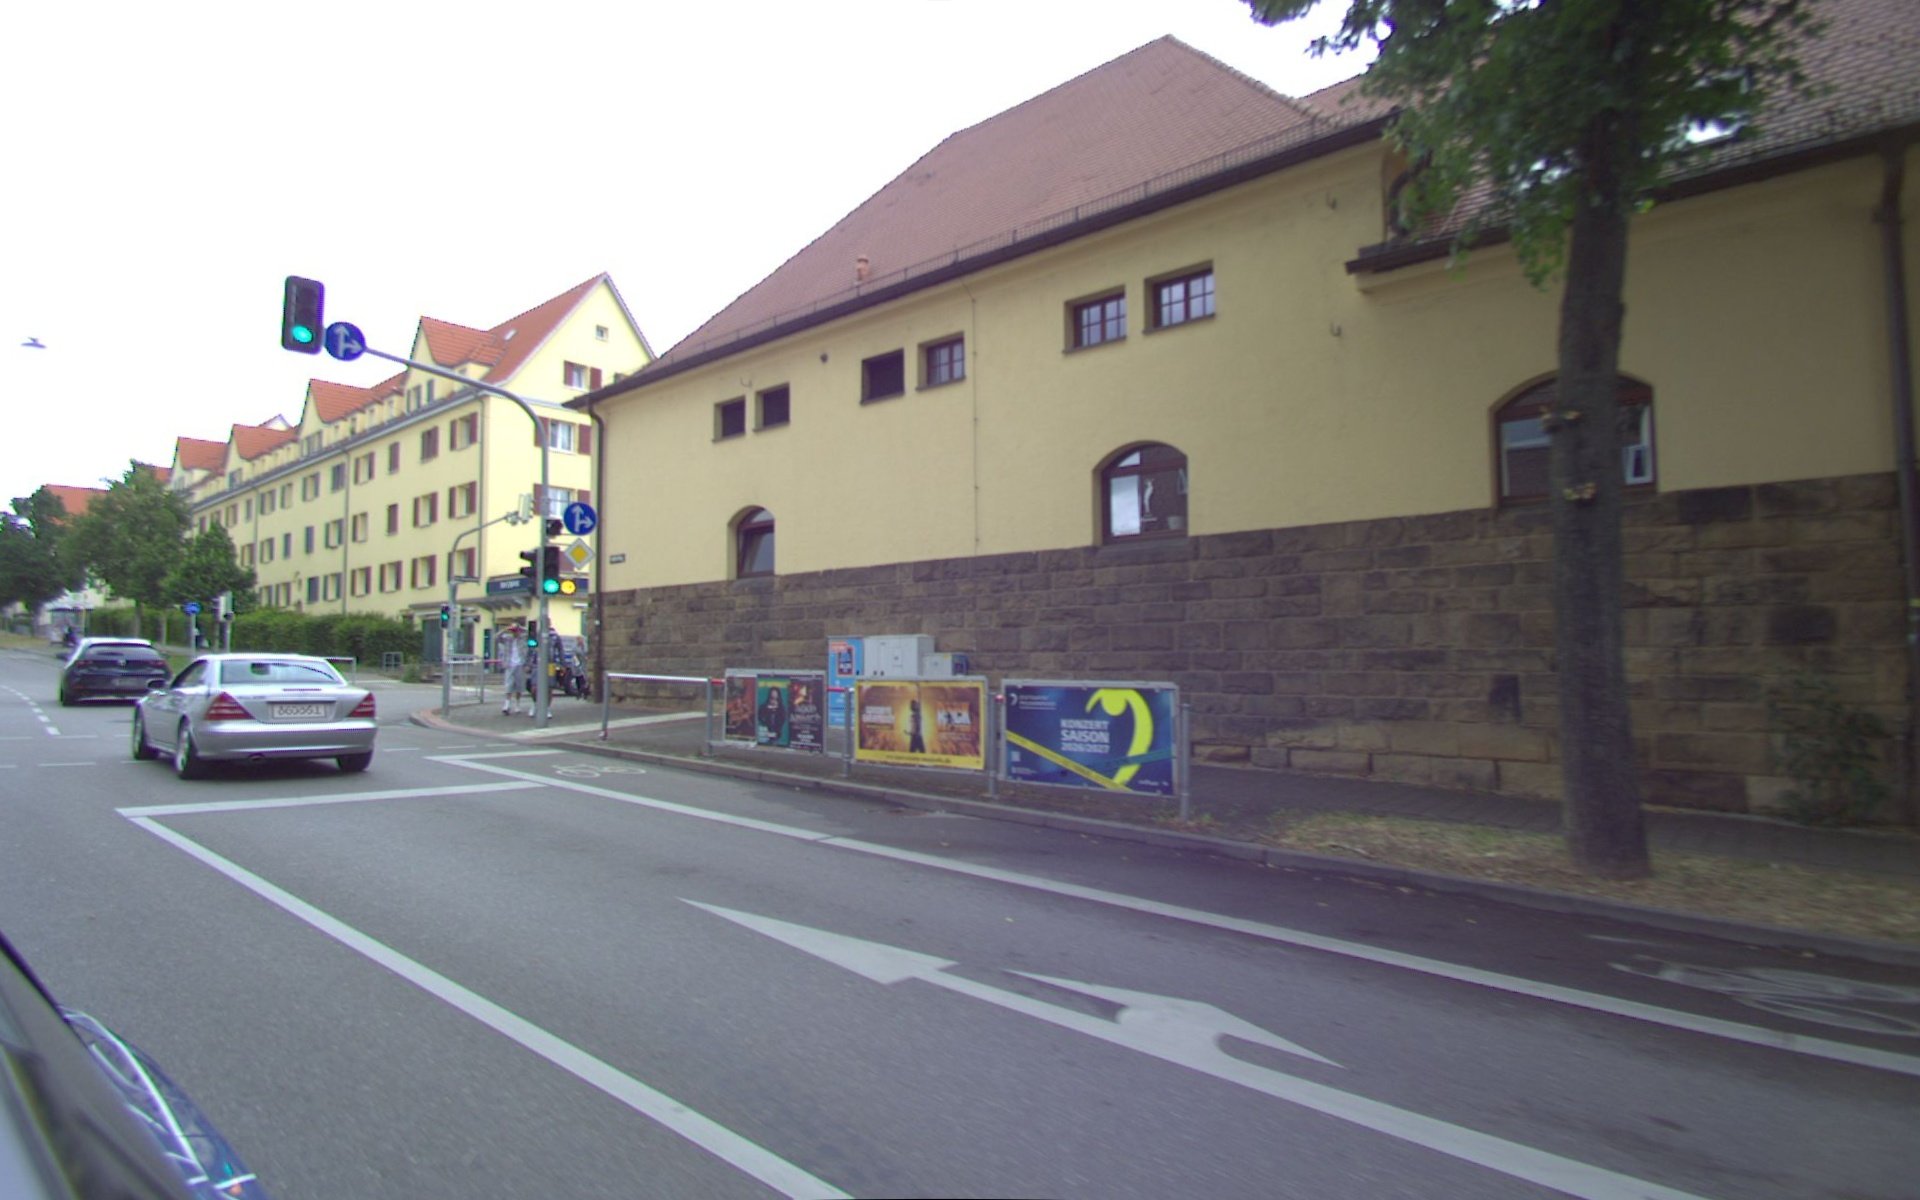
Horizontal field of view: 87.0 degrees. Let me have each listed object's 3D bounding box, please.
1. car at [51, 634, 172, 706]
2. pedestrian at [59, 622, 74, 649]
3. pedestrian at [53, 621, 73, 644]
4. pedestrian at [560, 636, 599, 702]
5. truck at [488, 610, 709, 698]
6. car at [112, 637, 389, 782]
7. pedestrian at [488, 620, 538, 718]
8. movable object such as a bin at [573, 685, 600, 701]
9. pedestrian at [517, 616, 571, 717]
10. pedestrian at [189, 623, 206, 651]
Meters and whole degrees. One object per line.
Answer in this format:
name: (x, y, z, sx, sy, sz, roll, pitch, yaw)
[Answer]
car: (-18.698, 1.485, 22.237, 1.683, 1.425, 4.195, 4, -4, -44)
pedestrian: (-57.411, 2.264, 65.046, 0.861, 1.740, 0.590, -1, -3, 43)
pedestrian: (-59.146, 2.142, 66.727, 0.806, 1.521, 0.890, -2, -2, 41)
pedestrian: (-9.337, 1.686, 24.828, 0.557, 1.578, 0.843, 3, -4, -44)
truck: (-10.958, 1.713, 31.343, 2.295, 2.446, 6.340, -1, -4, 32)
car: (-8.160, 1.149, 11.500, 4.095, 1.285, 1.667, -1, -6, 43)
pedestrian: (-8.435, 1.286, 19.085, 0.716, 1.790, 0.558, -2, -3, 40)
movable object such as a bin: (-8.726, 2.173, 23.650, 0.580, 0.350, 0.304, 0, -4, 34)
pedestrian: (-7.594, 1.203, 18.469, 0.842, 1.790, 0.558, -2, -3, 40)
pedestrian: (-44.347, 2.154, 58.874, 0.617, 1.631, 0.634, -2, -3, 40)
